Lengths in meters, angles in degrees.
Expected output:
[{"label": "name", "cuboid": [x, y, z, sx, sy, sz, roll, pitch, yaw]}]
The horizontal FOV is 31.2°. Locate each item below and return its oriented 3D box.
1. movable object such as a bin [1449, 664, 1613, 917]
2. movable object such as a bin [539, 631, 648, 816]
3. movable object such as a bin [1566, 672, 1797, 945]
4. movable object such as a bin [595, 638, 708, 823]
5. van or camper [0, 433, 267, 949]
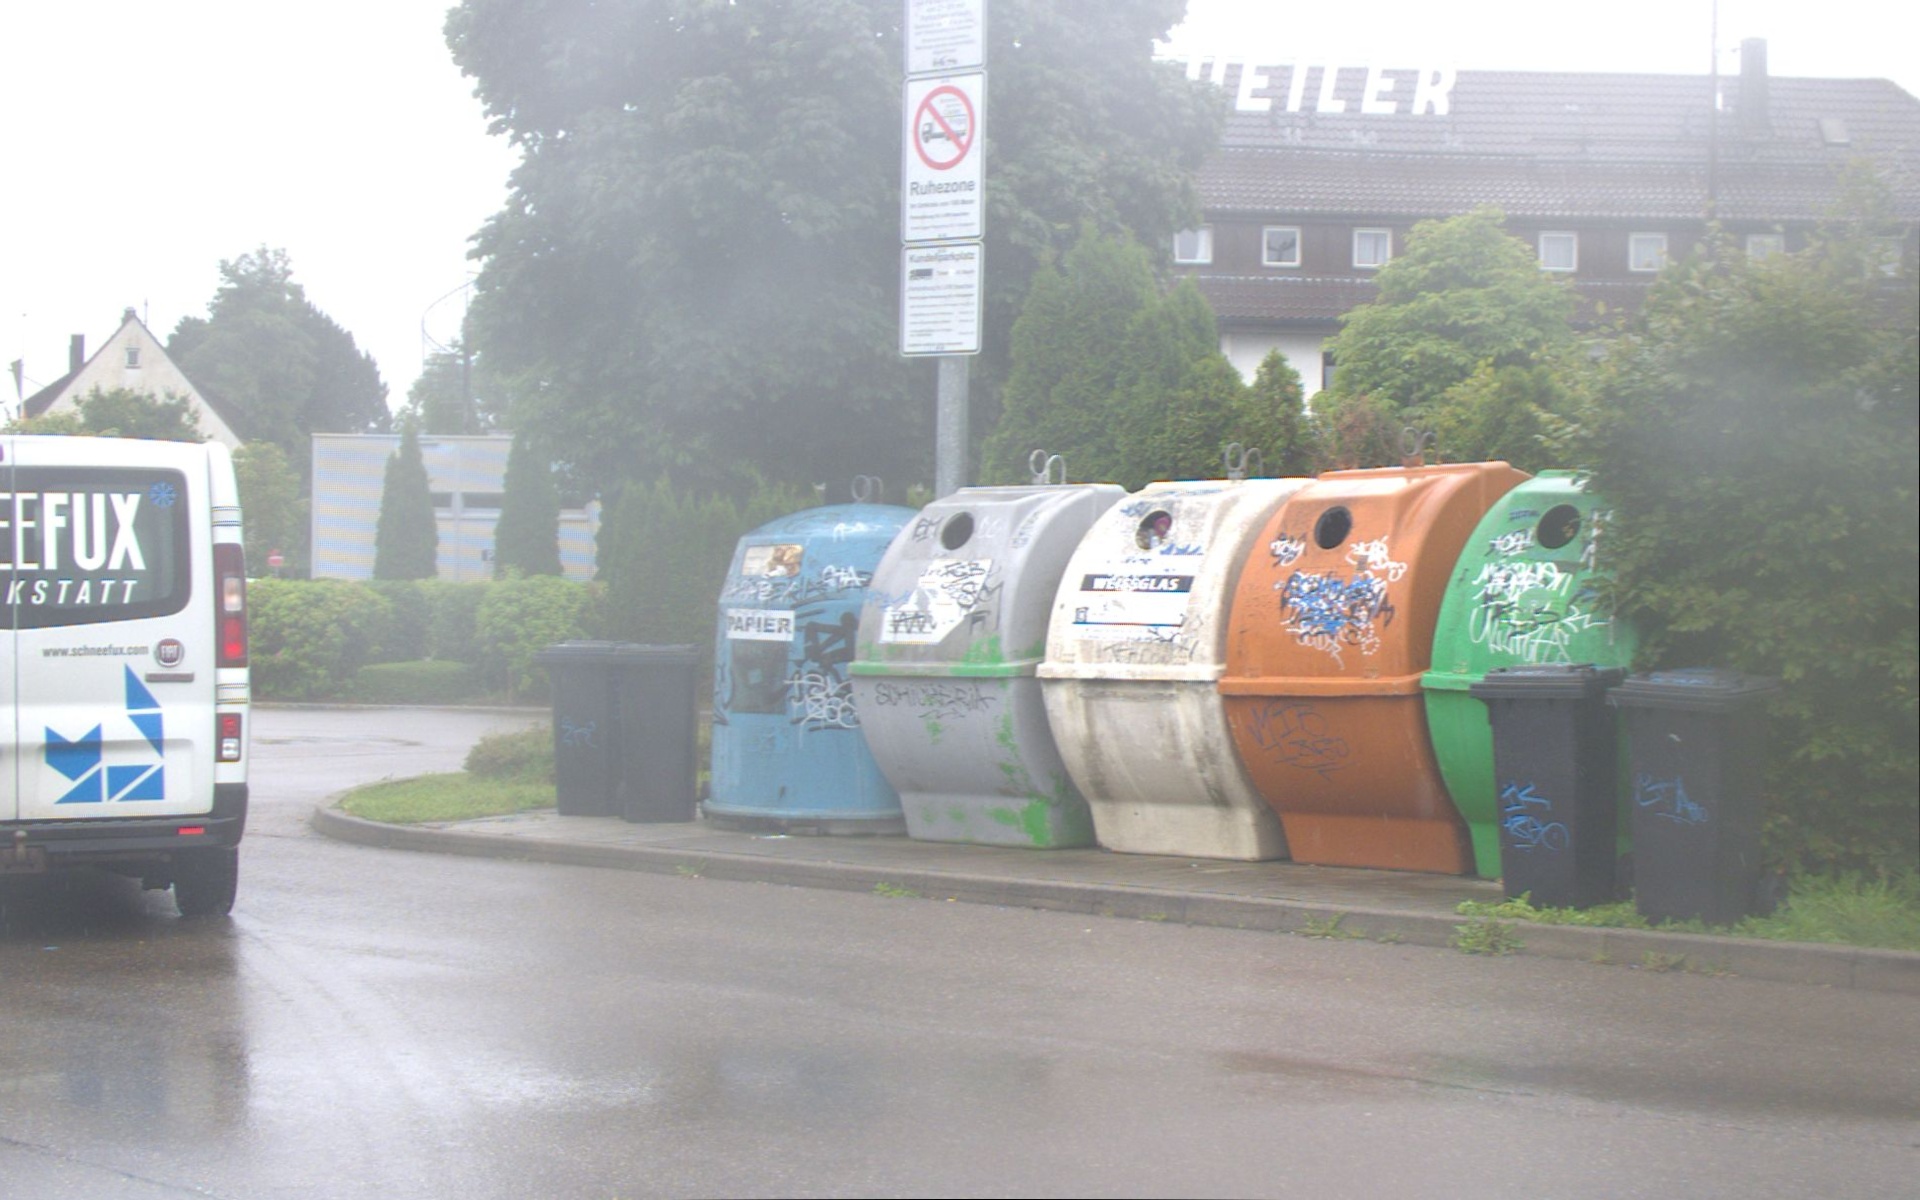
[{"label": "movable object such as a bin", "cuboid": [2.141, 0.707, 12.916, 0.493, 0.917, 0.416, 0, 1, -11]}, {"label": "movable object such as a bin", "cuboid": [-1.928, 0.640, 18.062, 0.448, 0.935, 0.489, -1, 1, -22]}, {"label": "movable object such as a bin", "cuboid": [2.544, 0.724, 12.155, 0.628, 0.917, 0.557, 0, 1, -11]}, {"label": "movable object such as a bin", "cuboid": [-1.583, 0.659, 17.626, 0.448, 0.914, 0.489, -1, 1, -22]}, {"label": "van or camper", "cuboid": [-4.455, 0.304, 15.377, 2.187, 1.938, 5.199, 0, 1, -17]}]
